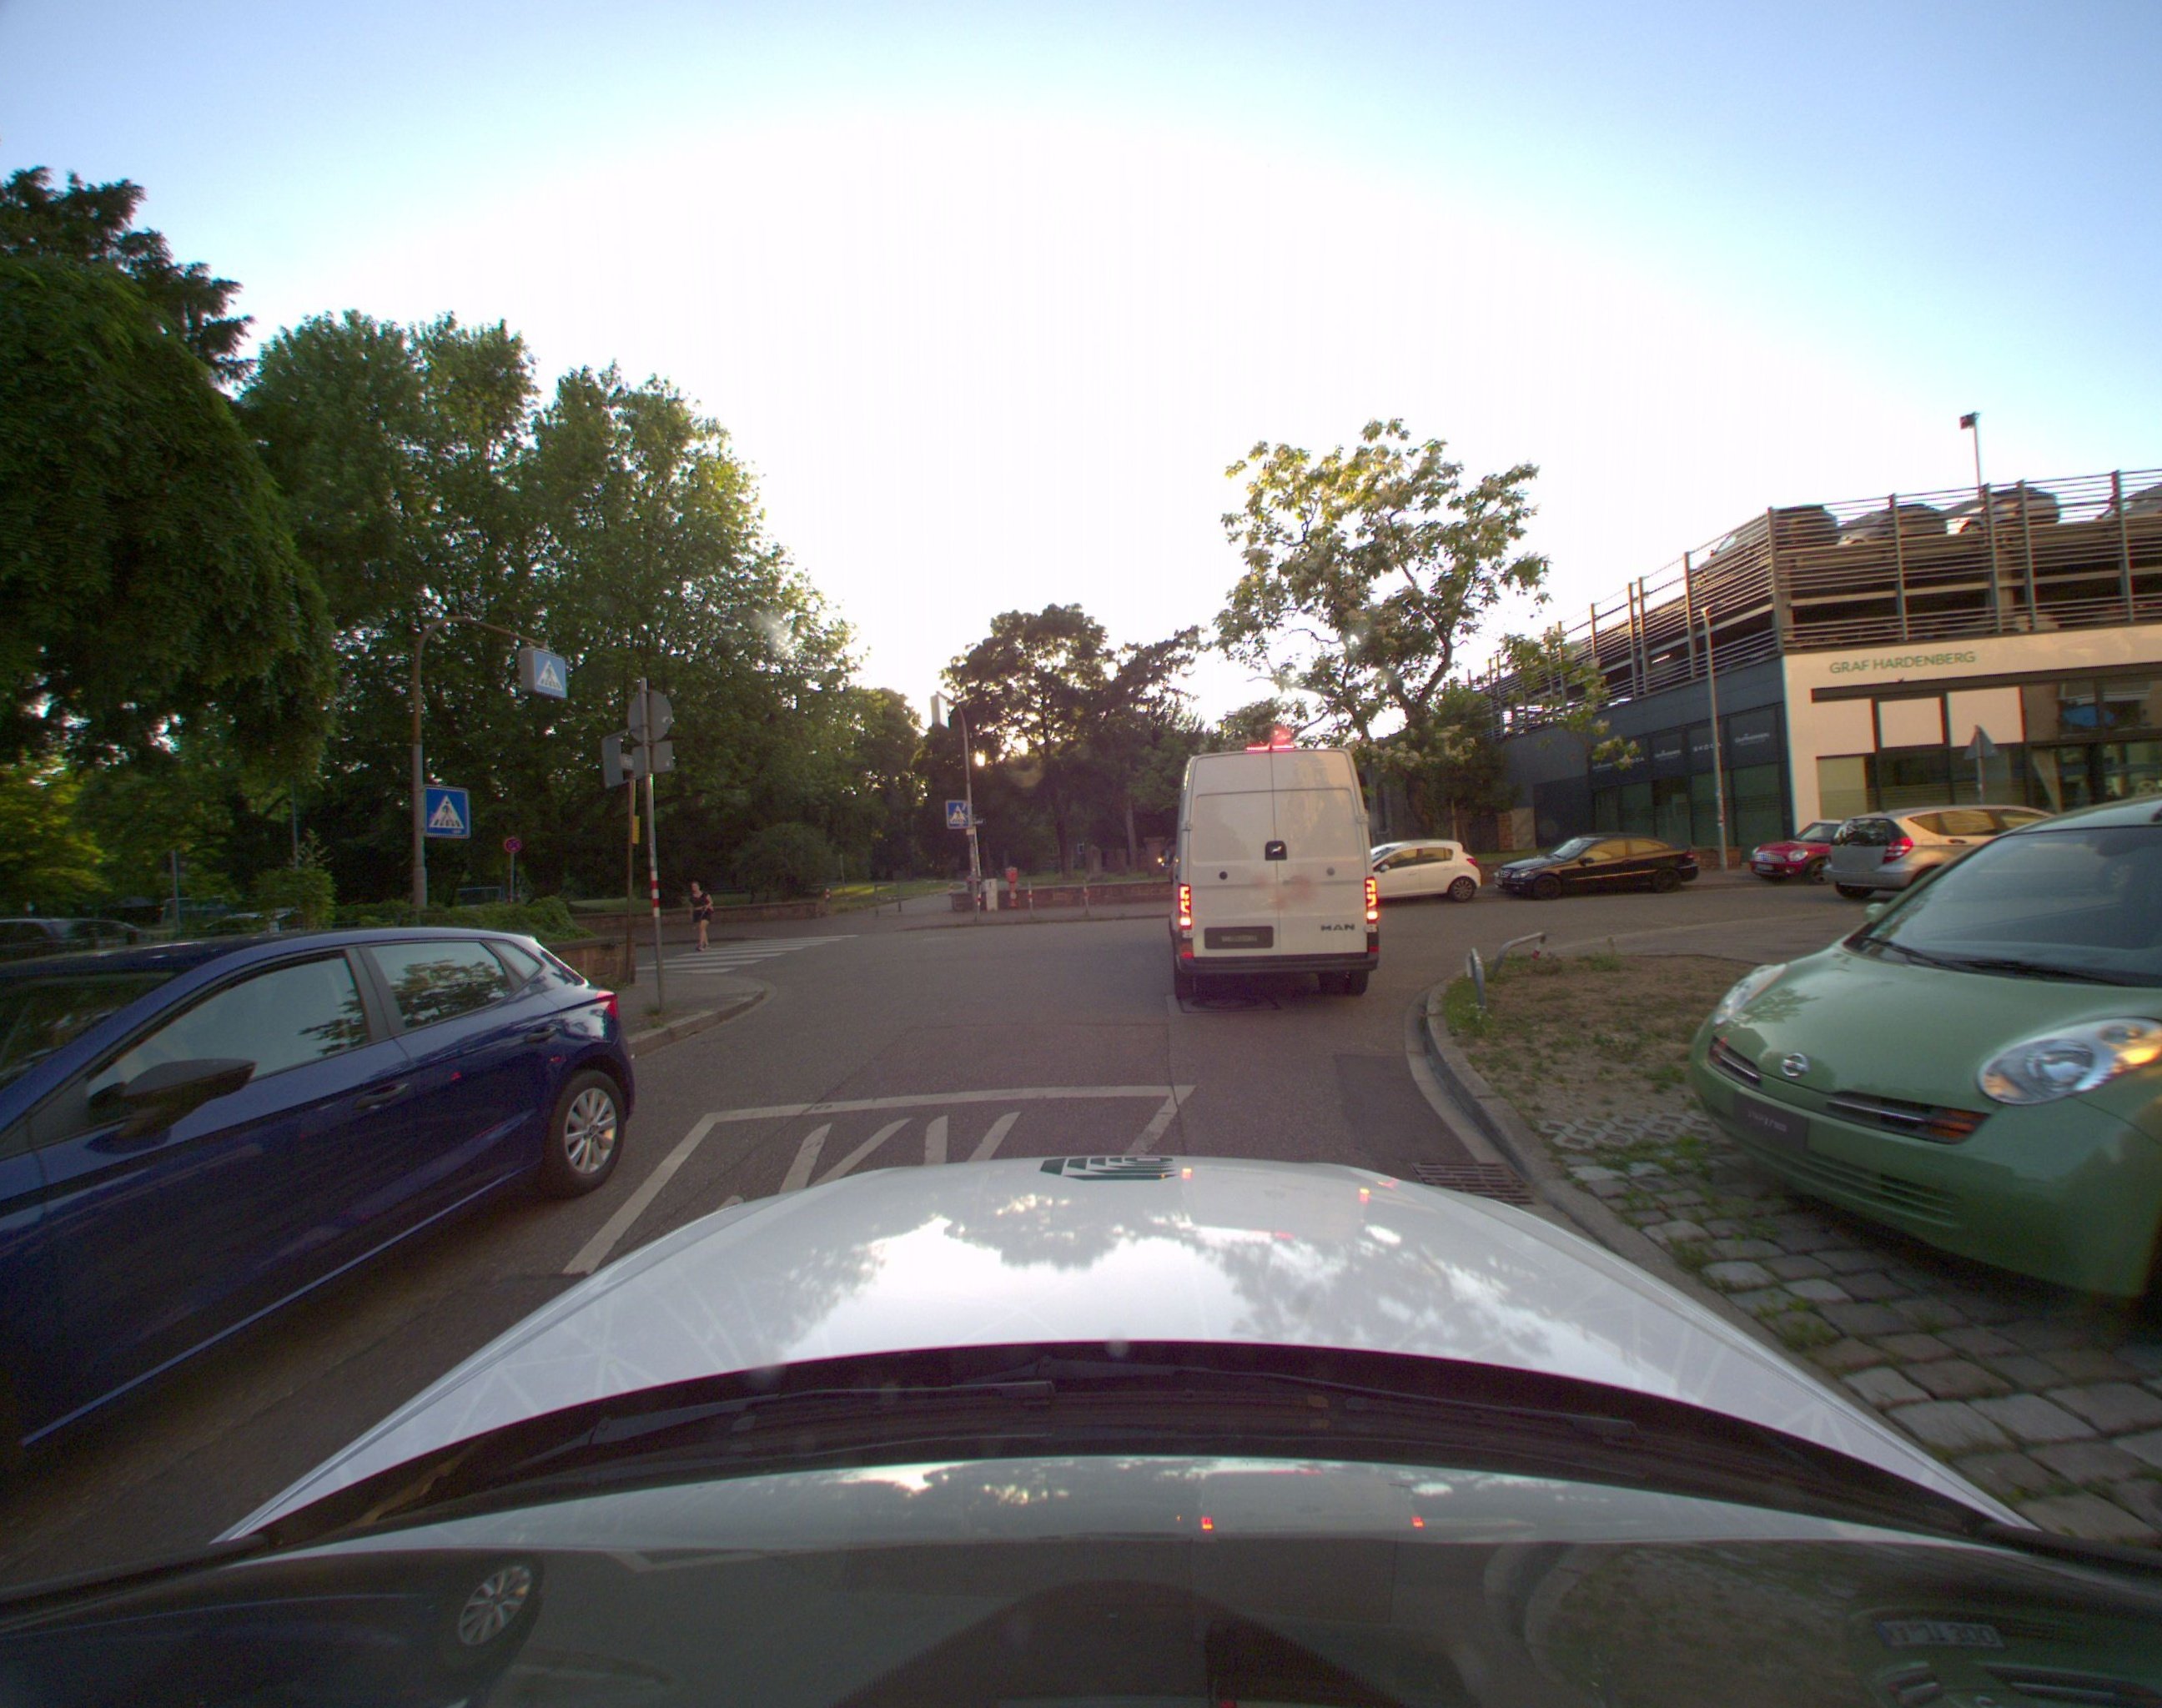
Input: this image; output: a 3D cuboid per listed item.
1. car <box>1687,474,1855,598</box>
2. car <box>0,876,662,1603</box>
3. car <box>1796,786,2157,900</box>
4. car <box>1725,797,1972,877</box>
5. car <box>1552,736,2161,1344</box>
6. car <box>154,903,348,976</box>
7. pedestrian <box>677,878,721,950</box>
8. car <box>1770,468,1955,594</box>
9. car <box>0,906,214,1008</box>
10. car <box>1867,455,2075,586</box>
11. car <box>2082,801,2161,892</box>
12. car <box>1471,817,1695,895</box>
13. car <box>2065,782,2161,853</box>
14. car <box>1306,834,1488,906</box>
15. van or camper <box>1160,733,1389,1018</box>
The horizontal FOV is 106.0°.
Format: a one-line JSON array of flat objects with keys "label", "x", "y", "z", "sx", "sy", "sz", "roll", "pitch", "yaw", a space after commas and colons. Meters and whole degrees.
[{"label": "car", "x": 20.568, "y": -9.422, "z": 24.528, "sx": 1.982, "sy": 2.014, "sz": 4.010, "roll": -2, "pitch": -1, "yaw": 9}, {"label": "car", "x": -3.323, "y": 0.964, "z": 2.736, "sx": 1.728, "sy": 1.567, "sz": 3.790, "roll": -5, "pitch": 0, "yaw": 0}, {"label": "car", "x": 15.062, "y": -0.161, "z": 13.926, "sx": 3.816, "sy": 1.523, "sz": 1.827, "roll": -4, "pitch": -1, "yaw": 7}, {"label": "car", "x": 17.913, "y": -0.366, "z": 19.191, "sx": 3.816, "sy": 1.503, "sz": 1.827, "roll": -4, "pitch": -1, "yaw": 7}, {"label": "car", "x": 4.623, "y": 0.398, "z": 3.175, "sx": 4.388, "sy": 1.631, "sz": 1.846, "roll": -5, "pitch": -3, "yaw": 1}, {"label": "car", "x": -24.349, "y": 2.500, "z": 23.969, "sx": 3.849, "sy": 1.562, "sz": 1.828, "roll": -4, "pitch": 5, "yaw": 6}, {"label": "pedestrian", "x": -9.115, "y": 1.424, "z": 19.441, "sx": 0.642, "sy": 1.649, "sz": 0.676, "roll": -2, "pitch": 0, "yaw": 14}, {"label": "car", "x": 23.125, "y": -9.503, "z": 24.354, "sx": 1.982, "sy": 2.014, "sz": 4.010, "roll": -2, "pitch": -1, "yaw": 9}, {"label": "car", "x": -20.854, "y": 2.134, "z": 16.792, "sx": 4.208, "sy": 1.799, "sz": 1.825, "roll": -4, "pitch": -4, "yaw": 5}, {"label": "car", "x": 25.832, "y": -9.619, "z": 23.877, "sx": 1.982, "sy": 2.014, "sz": 4.010, "roll": -2, "pitch": -1, "yaw": 9}, {"label": "car", "x": 19.510, "y": -0.258, "z": 13.245, "sx": 3.816, "sy": 1.462, "sz": 1.827, "roll": -4, "pitch": -1, "yaw": 7}, {"label": "car", "x": 12.217, "y": 0.056, "z": 20.091, "sx": 4.269, "sy": 1.503, "sz": 1.827, "roll": -4, "pitch": -1, "yaw": 7}, {"label": "car", "x": 25.304, "y": -0.930, "z": 18.282, "sx": 3.816, "sy": 1.503, "sz": 1.827, "roll": -4, "pitch": -1, "yaw": 7}, {"label": "car", "x": 7.919, "y": 0.381, "z": 20.718, "sx": 3.840, "sy": 1.574, "sz": 1.959, "roll": -3, "pitch": 0, "yaw": 1}, {"label": "van or camper", "x": 2.096, "y": 0.224, "z": 10.749, "sx": 1.984, "sy": 2.618, "sz": 6.411, "roll": 0, "pitch": -1, "yaw": 5}]
